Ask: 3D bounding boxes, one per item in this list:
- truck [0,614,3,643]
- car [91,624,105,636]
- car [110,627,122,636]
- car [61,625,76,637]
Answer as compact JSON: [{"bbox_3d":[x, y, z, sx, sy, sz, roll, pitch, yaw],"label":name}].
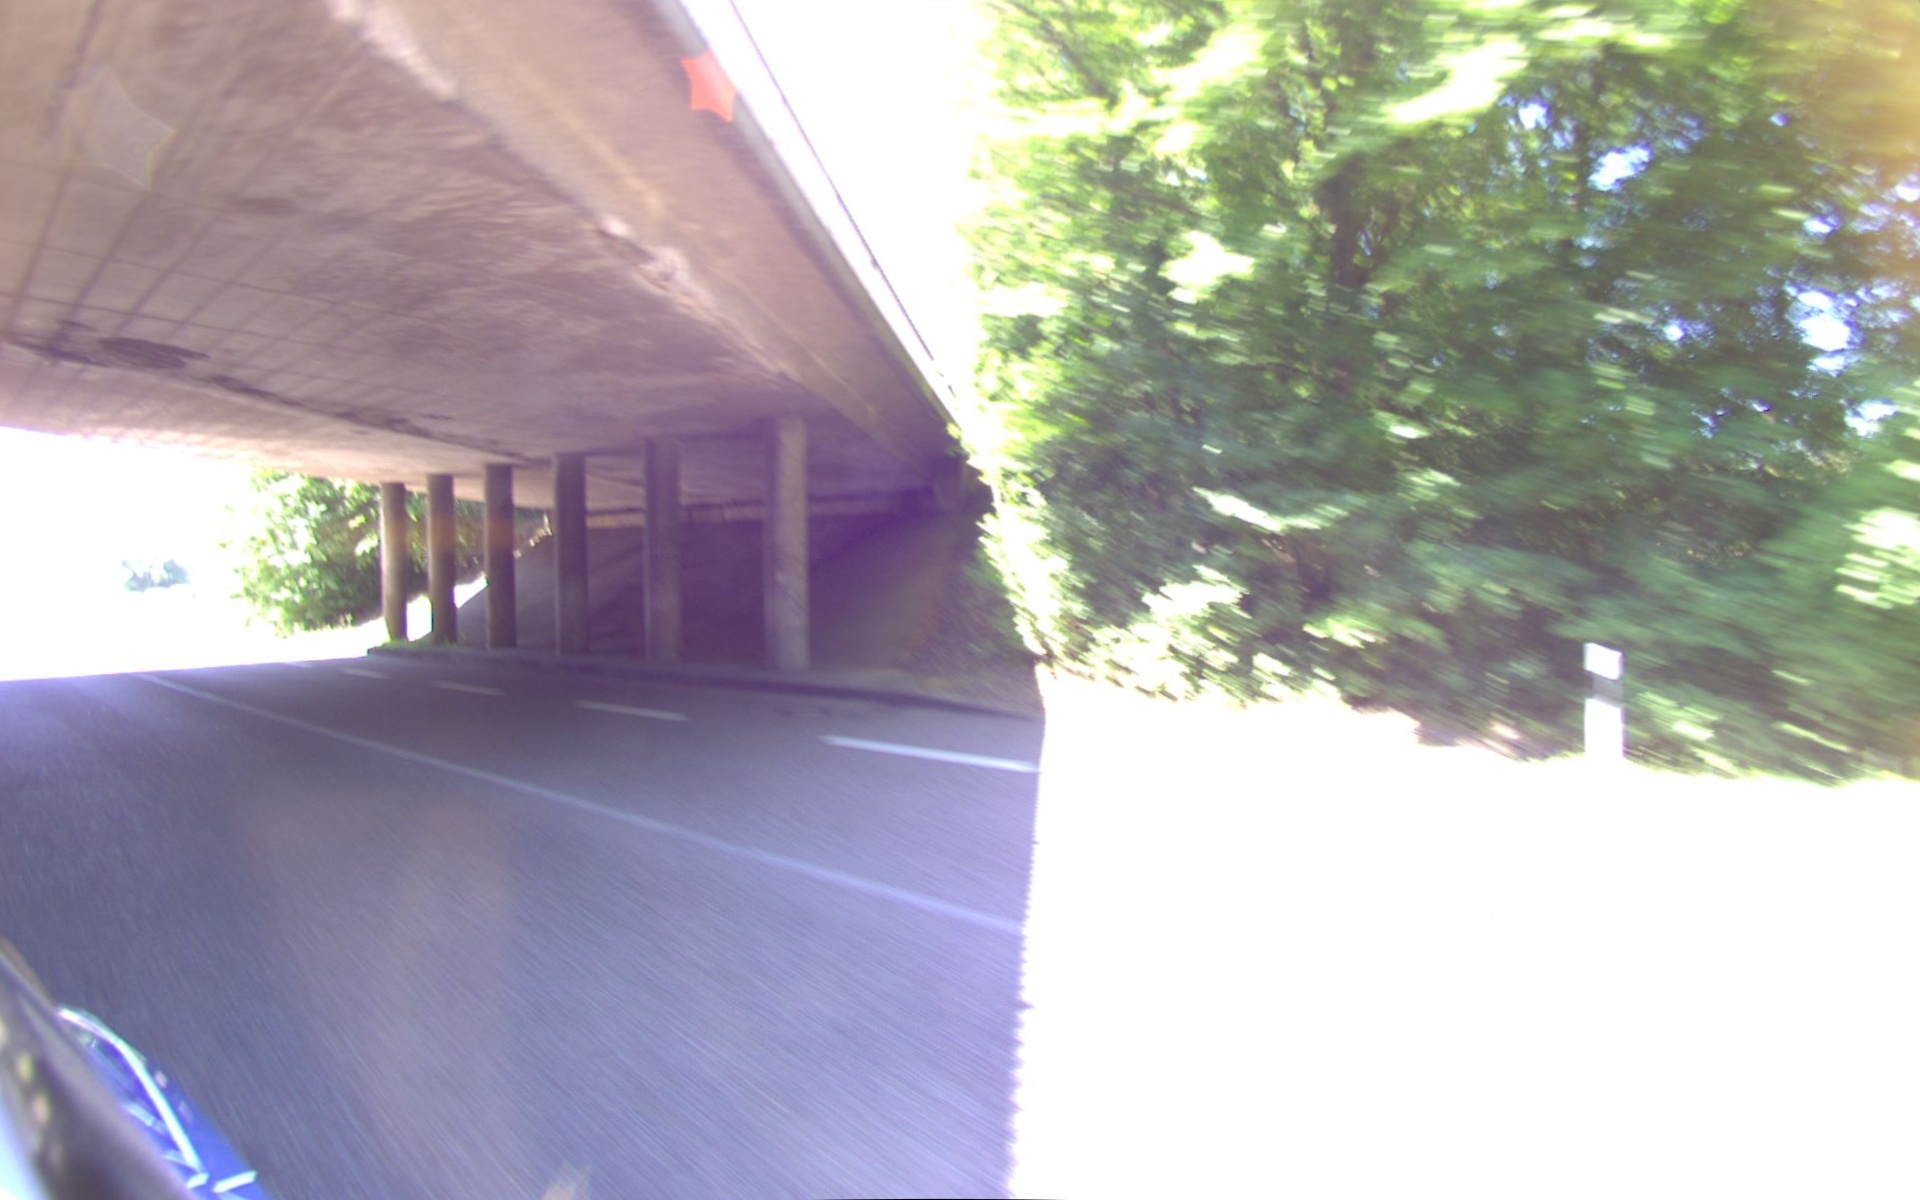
[{"bbox_3d":[-101.721,2.953,105.714,2.423,2.966,6.979,0,-1,-44],"label":"truck"},{"bbox_3d":[-147.228,5.196,172.897,1.818,2.029,4.006,1,-2,-41],"label":"car"},{"bbox_3d":[-157.129,5.882,188.353,1.664,1.657,3.678,0,-1,-39],"label":"car"},{"bbox_3d":[-158.243,5.528,179.700,1.969,1.978,4.005,0,-1,-41],"label":"car"}]
